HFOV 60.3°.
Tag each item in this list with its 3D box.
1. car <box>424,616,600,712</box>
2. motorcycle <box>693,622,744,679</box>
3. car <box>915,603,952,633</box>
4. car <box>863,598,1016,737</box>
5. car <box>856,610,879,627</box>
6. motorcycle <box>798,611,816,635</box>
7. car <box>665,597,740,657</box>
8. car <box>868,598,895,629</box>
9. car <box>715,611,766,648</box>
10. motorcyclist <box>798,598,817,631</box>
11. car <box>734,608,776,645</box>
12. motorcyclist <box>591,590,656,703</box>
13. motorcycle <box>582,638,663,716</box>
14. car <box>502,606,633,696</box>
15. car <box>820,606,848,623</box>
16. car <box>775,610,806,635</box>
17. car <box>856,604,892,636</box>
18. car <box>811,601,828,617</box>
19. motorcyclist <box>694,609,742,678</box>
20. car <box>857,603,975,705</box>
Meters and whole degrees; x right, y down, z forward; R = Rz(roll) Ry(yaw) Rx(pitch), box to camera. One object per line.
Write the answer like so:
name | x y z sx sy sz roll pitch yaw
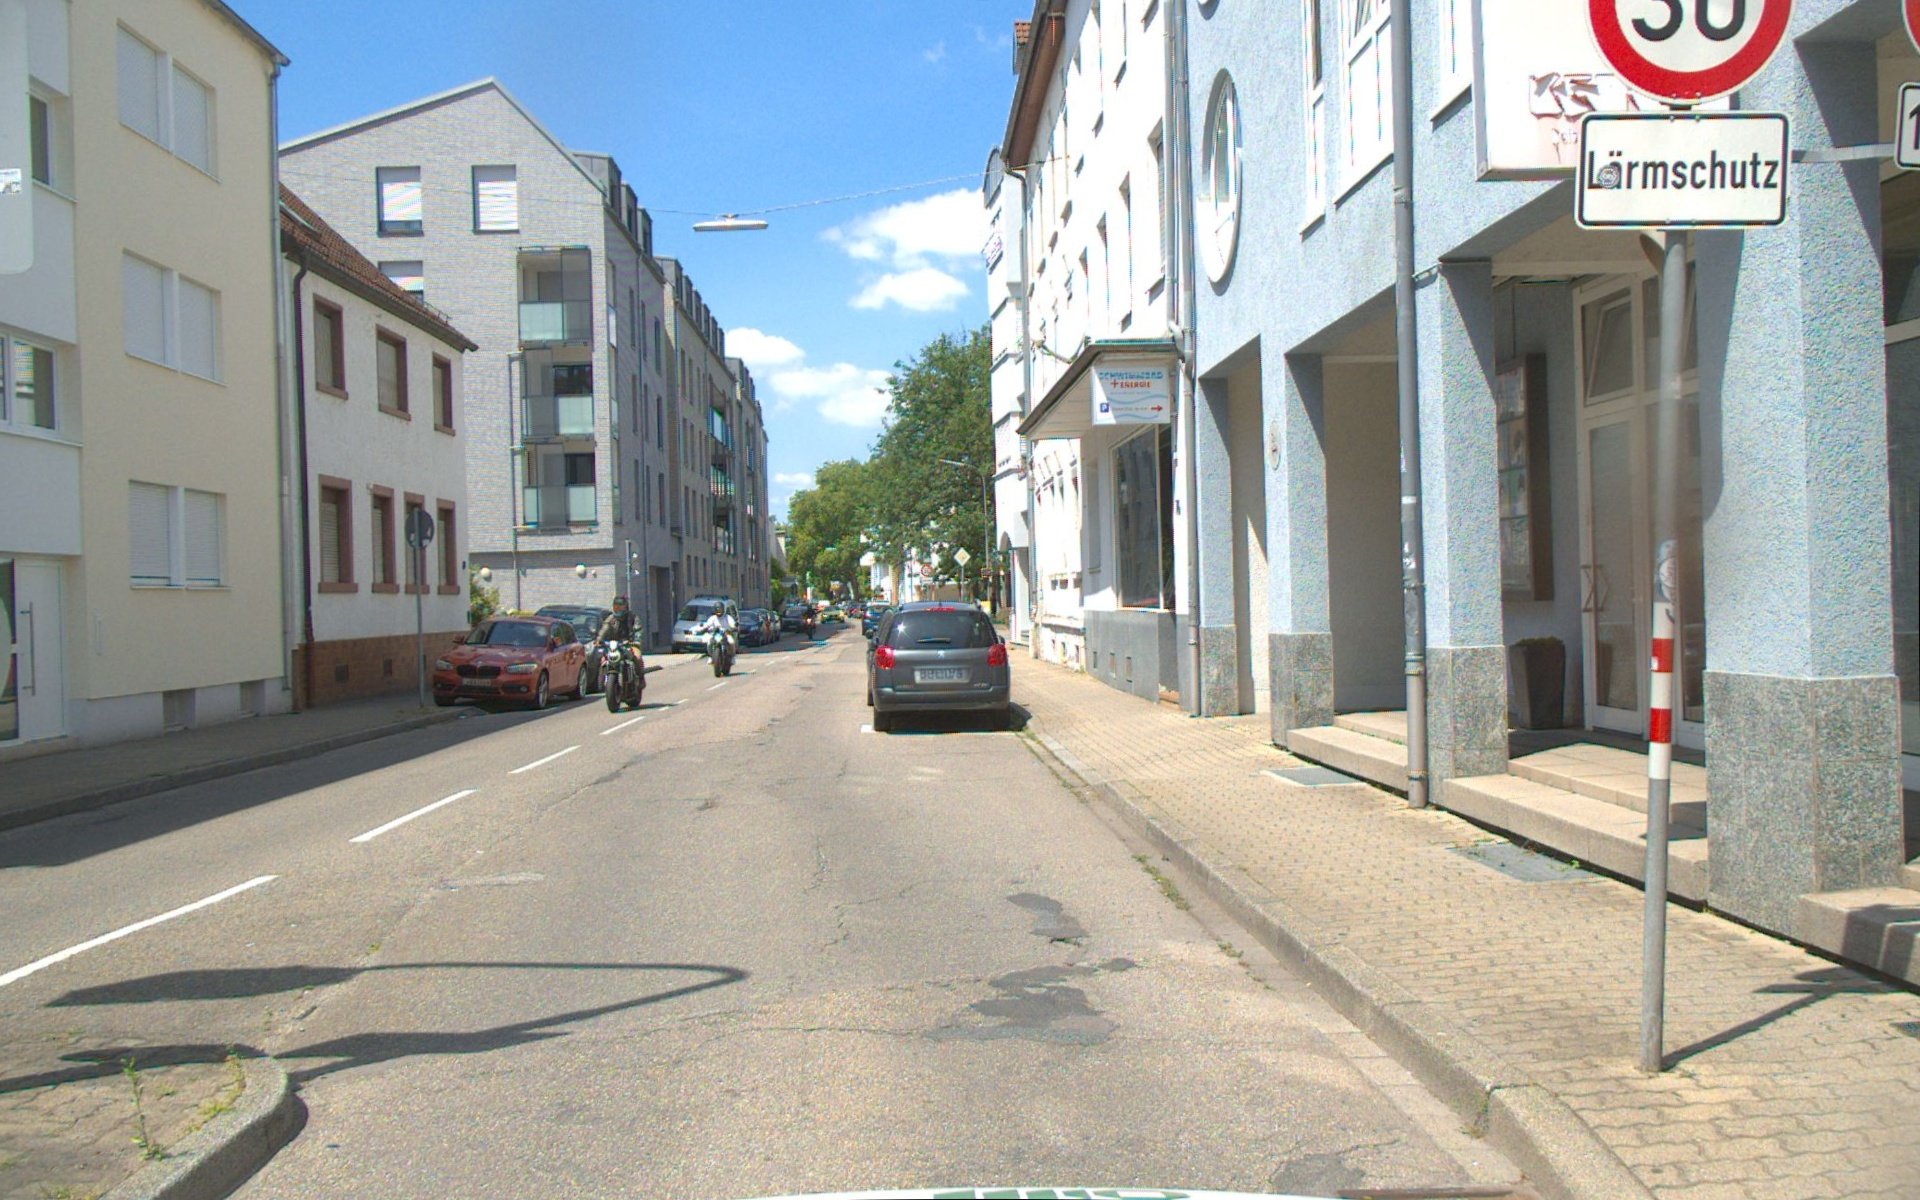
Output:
car | -7.488 1.027 28.094 1.796 1.441 4.289 -2 0 0
motorcycle | -5.404 1.126 37.169 0.878 1.196 2.207 -1 0 -2
car | -1.406 0.947 86.798 1.659 1.444 3.997 -4 0 -4
car | -0.351 0.785 21.001 1.676 1.534 3.996 -2 0 -4
car | -9.466 1.888 168.725 1.956 1.646 3.992 -1 0 -8
motorcycle | -7.343 1.104 79.644 0.674 1.142 2.027 -2 0 -1
car | -8.619 0.877 55.703 1.721 1.925 4.337 1 0 1
car | -5.459 0.893 115.085 1.802 2.049 3.998 -2 0 -2
car | -9.049 1.198 68.421 1.688 1.482 4.004 0 0 -1
motorcyclist | -7.328 0.689 79.535 0.806 1.535 1.056 -2 0 -1
car | -9.115 1.164 73.666 1.559 1.581 3.568 -1 0 -3
motorcyclist | -5.137 0.699 25.293 0.698 1.663 1.069 -2 0 1
motorcycle | -5.139 1.155 25.340 0.698 1.046 2.240 -2 0 1
car | -7.749 0.963 32.967 1.758 1.675 3.943 0 0 -2
car | -10.467 1.206 137.606 1.953 1.405 4.392 0 0 -1
car | -10.594 1.382 103.578 1.698 1.467 3.997 -2 0 -3
car | -4.242 0.978 81.629 1.681 1.426 3.998 -2 0 -2
car | -19.277 1.233 227.422 2.116 2.049 3.993 -2 0 -7
motorcyclist | -5.415 0.962 37.056 0.898 1.506 1.202 -1 0 -2
car | -0.742 0.798 26.448 1.694 1.445 4.542 -2 0 -3
